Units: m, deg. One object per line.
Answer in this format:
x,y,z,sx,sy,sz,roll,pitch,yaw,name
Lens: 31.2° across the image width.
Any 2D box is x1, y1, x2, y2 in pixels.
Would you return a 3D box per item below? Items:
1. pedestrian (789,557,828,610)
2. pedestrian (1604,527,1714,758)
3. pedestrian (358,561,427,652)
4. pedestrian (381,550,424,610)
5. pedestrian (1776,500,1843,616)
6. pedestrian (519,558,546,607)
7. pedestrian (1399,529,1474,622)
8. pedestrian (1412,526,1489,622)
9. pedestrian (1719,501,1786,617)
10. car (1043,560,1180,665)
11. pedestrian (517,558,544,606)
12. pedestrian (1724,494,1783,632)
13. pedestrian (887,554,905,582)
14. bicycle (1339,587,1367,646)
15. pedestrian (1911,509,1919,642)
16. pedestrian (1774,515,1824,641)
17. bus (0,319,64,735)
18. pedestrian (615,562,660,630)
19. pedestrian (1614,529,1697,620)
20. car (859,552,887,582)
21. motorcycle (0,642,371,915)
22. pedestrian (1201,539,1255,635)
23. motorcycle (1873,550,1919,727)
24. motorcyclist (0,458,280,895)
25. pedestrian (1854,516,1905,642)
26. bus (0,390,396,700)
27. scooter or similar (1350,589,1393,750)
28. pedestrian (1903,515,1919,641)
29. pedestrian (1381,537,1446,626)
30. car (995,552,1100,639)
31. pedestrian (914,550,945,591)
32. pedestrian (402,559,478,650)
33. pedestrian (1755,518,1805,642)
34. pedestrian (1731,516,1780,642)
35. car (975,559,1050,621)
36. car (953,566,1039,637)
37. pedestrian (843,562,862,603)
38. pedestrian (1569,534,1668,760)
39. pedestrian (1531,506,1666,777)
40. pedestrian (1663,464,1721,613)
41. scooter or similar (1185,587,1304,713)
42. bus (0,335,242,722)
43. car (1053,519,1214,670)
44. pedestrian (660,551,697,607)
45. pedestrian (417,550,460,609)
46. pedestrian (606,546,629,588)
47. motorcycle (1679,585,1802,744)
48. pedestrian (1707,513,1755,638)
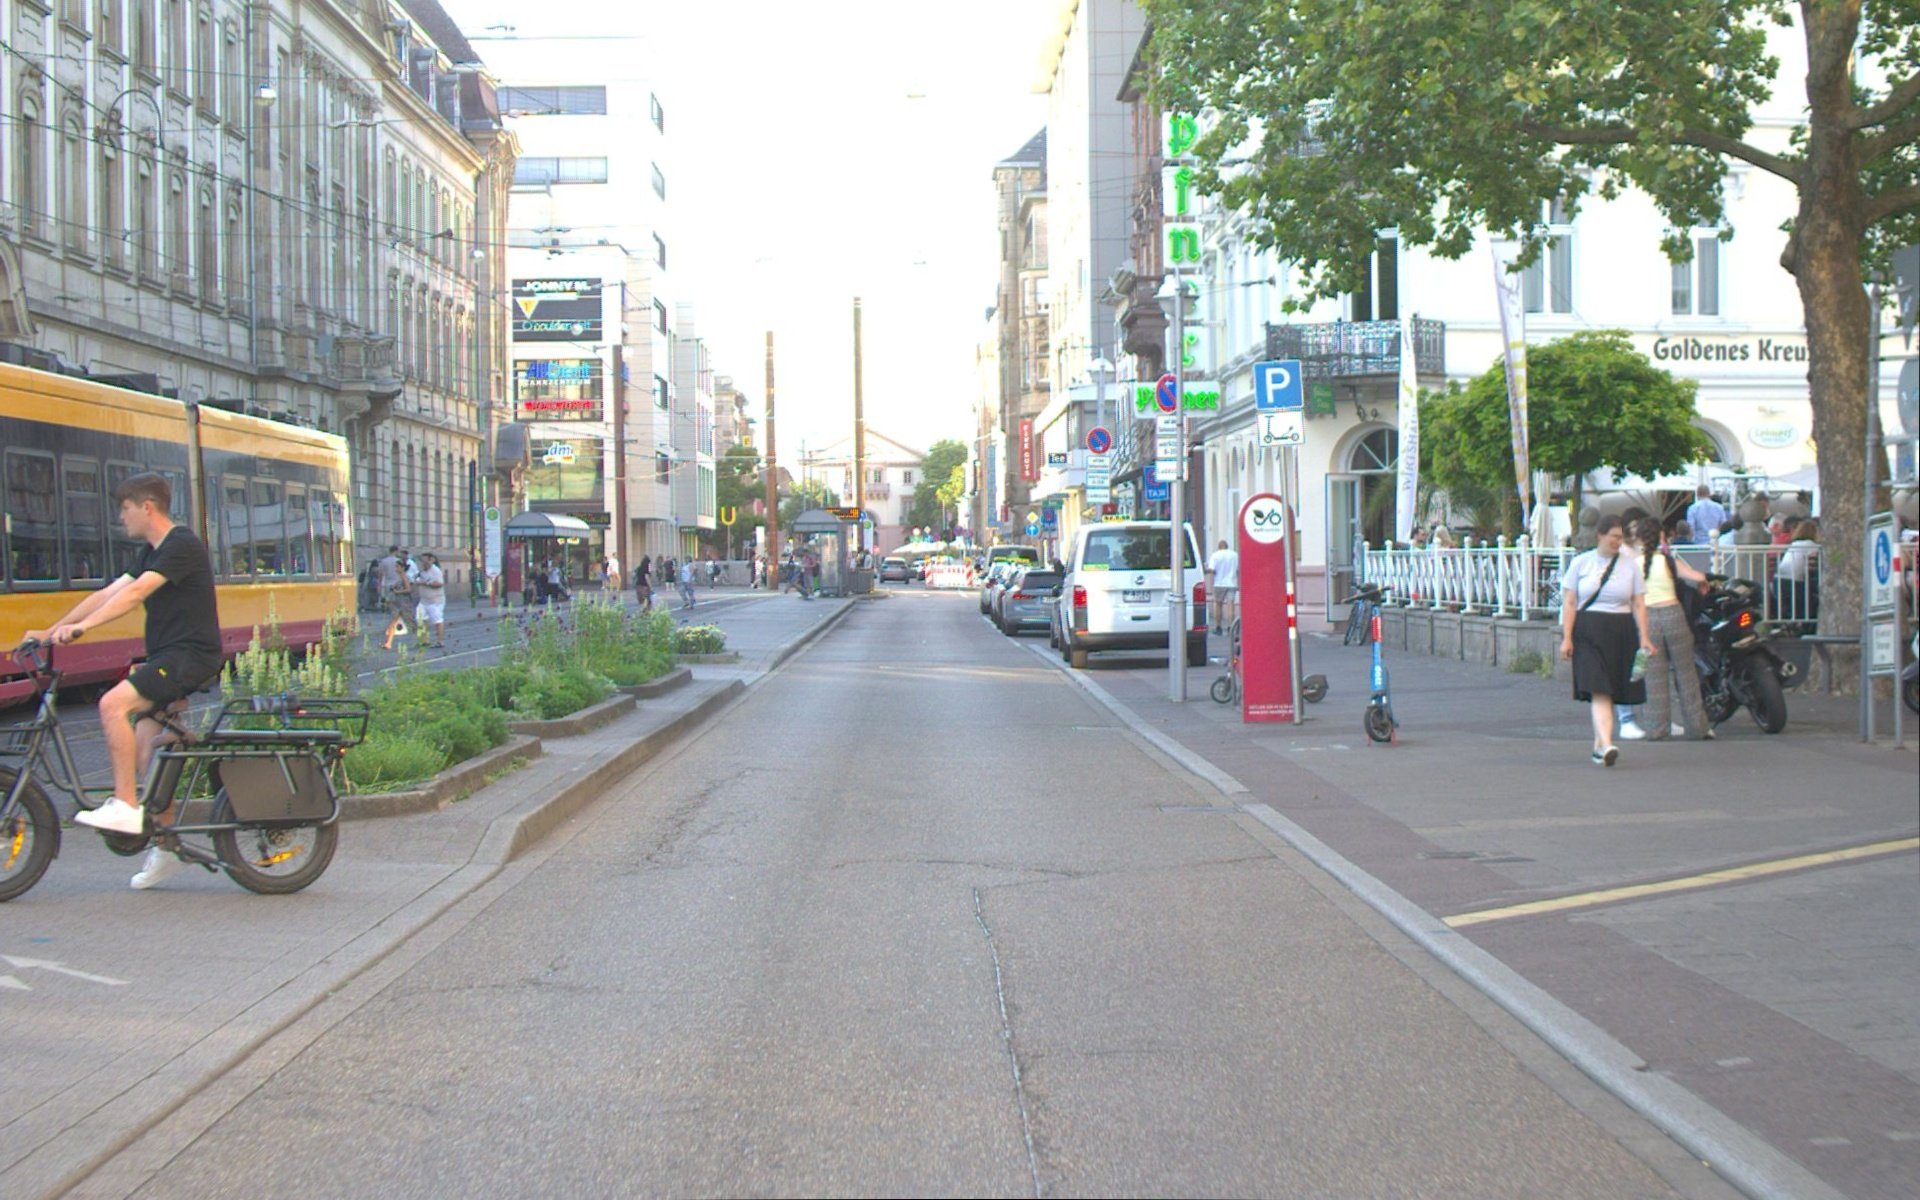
-4.904,-0.533,111.242,1.049,1.680,0.908,-1,-1,11,pedestrian
5.267,0.325,25.934,0.678,1.711,0.654,-1,-1,2,pedestrian
-9.641,0.116,58.419,0.758,1.509,0.861,-2,-2,43,pedestrian
-15.692,-0.559,96.716,1.048,1.680,0.908,0,0,-19,pedestrian
12.180,-0.600,49.296,0.757,1.638,0.659,-1,-1,0,pedestrian
-13.861,-0.577,111.436,0.773,1.575,0.679,-1,1,-12,pedestrian
6.855,-0.341,49.459,0.902,1.301,0.967,-1,-1,-1,pedestrian
6.901,-0.357,48.410,0.902,1.309,0.967,-1,-1,-1,pedestrian
11.348,-0.580,49.259,0.757,1.638,0.659,-1,-1,-2,pedestrian
2.476,0.201,57.176,1.993,1.661,4.421,-1,0,-1,car
-14.024,-0.591,112.236,0.777,1.575,0.679,-1,1,-12,pedestrian
9.147,-0.419,39.607,0.619,1.566,0.630,-1,-1,14,pedestrian
-4.120,-2.048,220.474,0.782,1.728,0.811,-2,-2,40,pedestrian
6.110,0.266,53.494,0.250,0.899,1.374,-1,-1,-1,bicycle
9.599,-0.236,33.432,0.645,1.281,0.740,-1,-1,16,pedestrian
8.651,-0.220,35.453,0.474,1.281,0.539,-1,-1,14,pedestrian
-9.752,-0.540,23.625,2.822,3.639,17.073,-1,1,0,bus
-8.182,-0.093,87.227,1.048,1.680,0.908,-1,-1,-10,pedestrian
9.870,-0.359,48.842,0.963,1.262,0.905,-1,-1,-1,pedestrian
-5.613,-2.142,221.656,1.760,1.821,3.570,-1,-1,-1,car
-3.622,0.755,14.834,2.043,1.120,0.568,0,-1,-27,motorcycle
4.927,-0.232,63.271,0.786,1.745,0.895,-1,-1,-7,pedestrian
8.258,0.335,27.258,0.564,1.418,2.297,0,2,-27,motorcycle
-3.576,0.324,14.879,1.001,1.807,0.960,0,-1,-27,motorcyclist
9.483,-0.215,35.464,0.474,1.281,0.539,-1,-1,16,pedestrian
-9.961,-0.618,46.368,2.822,3.600,11.823,-1,0,0,bus
3.214,0.531,26.902,0.315,1.217,1.272,0,1,6,scooter or similar
9.889,-0.222,35.098,0.477,1.281,0.525,-1,-1,17,pedestrian
6.848,-0.274,51.921,0.822,1.301,0.870,-1,-1,-1,pedestrian
1.808,-0.094,72.435,1.993,1.755,4.421,-1,0,-1,car
-1.464,-1.403,162.650,1.229,1.922,1.022,0,0,-16,pedestrian
-8.770,0.085,57.973,0.718,1.509,1.035,-2,-2,43,pedestrian
8.605,-0.209,36.078,0.474,1.281,0.539,-1,-1,14,pedestrian
8.491,-0.223,36.688,0.474,1.325,0.539,-1,-1,14,pedestrian
1.475,-0.256,98.551,1.993,1.661,4.421,-1,-1,-1,car
0.875,0.068,85.384,1.993,1.661,4.421,-1,-1,-1,car
-3.955,-0.641,126.290,0.612,1.518,0.621,-1,-1,-9,pedestrian
5.090,0.365,26.601,0.614,1.711,0.662,-1,-1,1,pedestrian
4.379,0.279,23.610,0.714,1.797,0.824,-3,0,2,pedestrian
11.355,-0.948,53.323,0.612,2.297,0.581,0,-1,-22,pedestrian
2.842,0.496,34.365,1.125,1.211,0.300,-2,2,1,scooter or similar
-9.853,-0.626,36.324,2.822,3.612,8.289,-1,0,0,bus
2.350,-0.085,47.662,1.915,1.975,4.421,-1,0,-1,car
-8.386,-0.633,102.527,1.049,1.680,0.908,0,1,-1,pedestrian
-14.999,-0.582,98.805,1.048,1.680,0.908,-1,1,-19,pedestrian
-15.609,-1.492,156.718,0.905,1.922,0.851,0,1,-17,pedestrian
5.963,0.470,26.338,0.455,1.154,2.031,0,1,-1,motorcycle
8.503,-0.260,37.916,0.474,1.359,0.539,-1,-1,14,pedestrian
